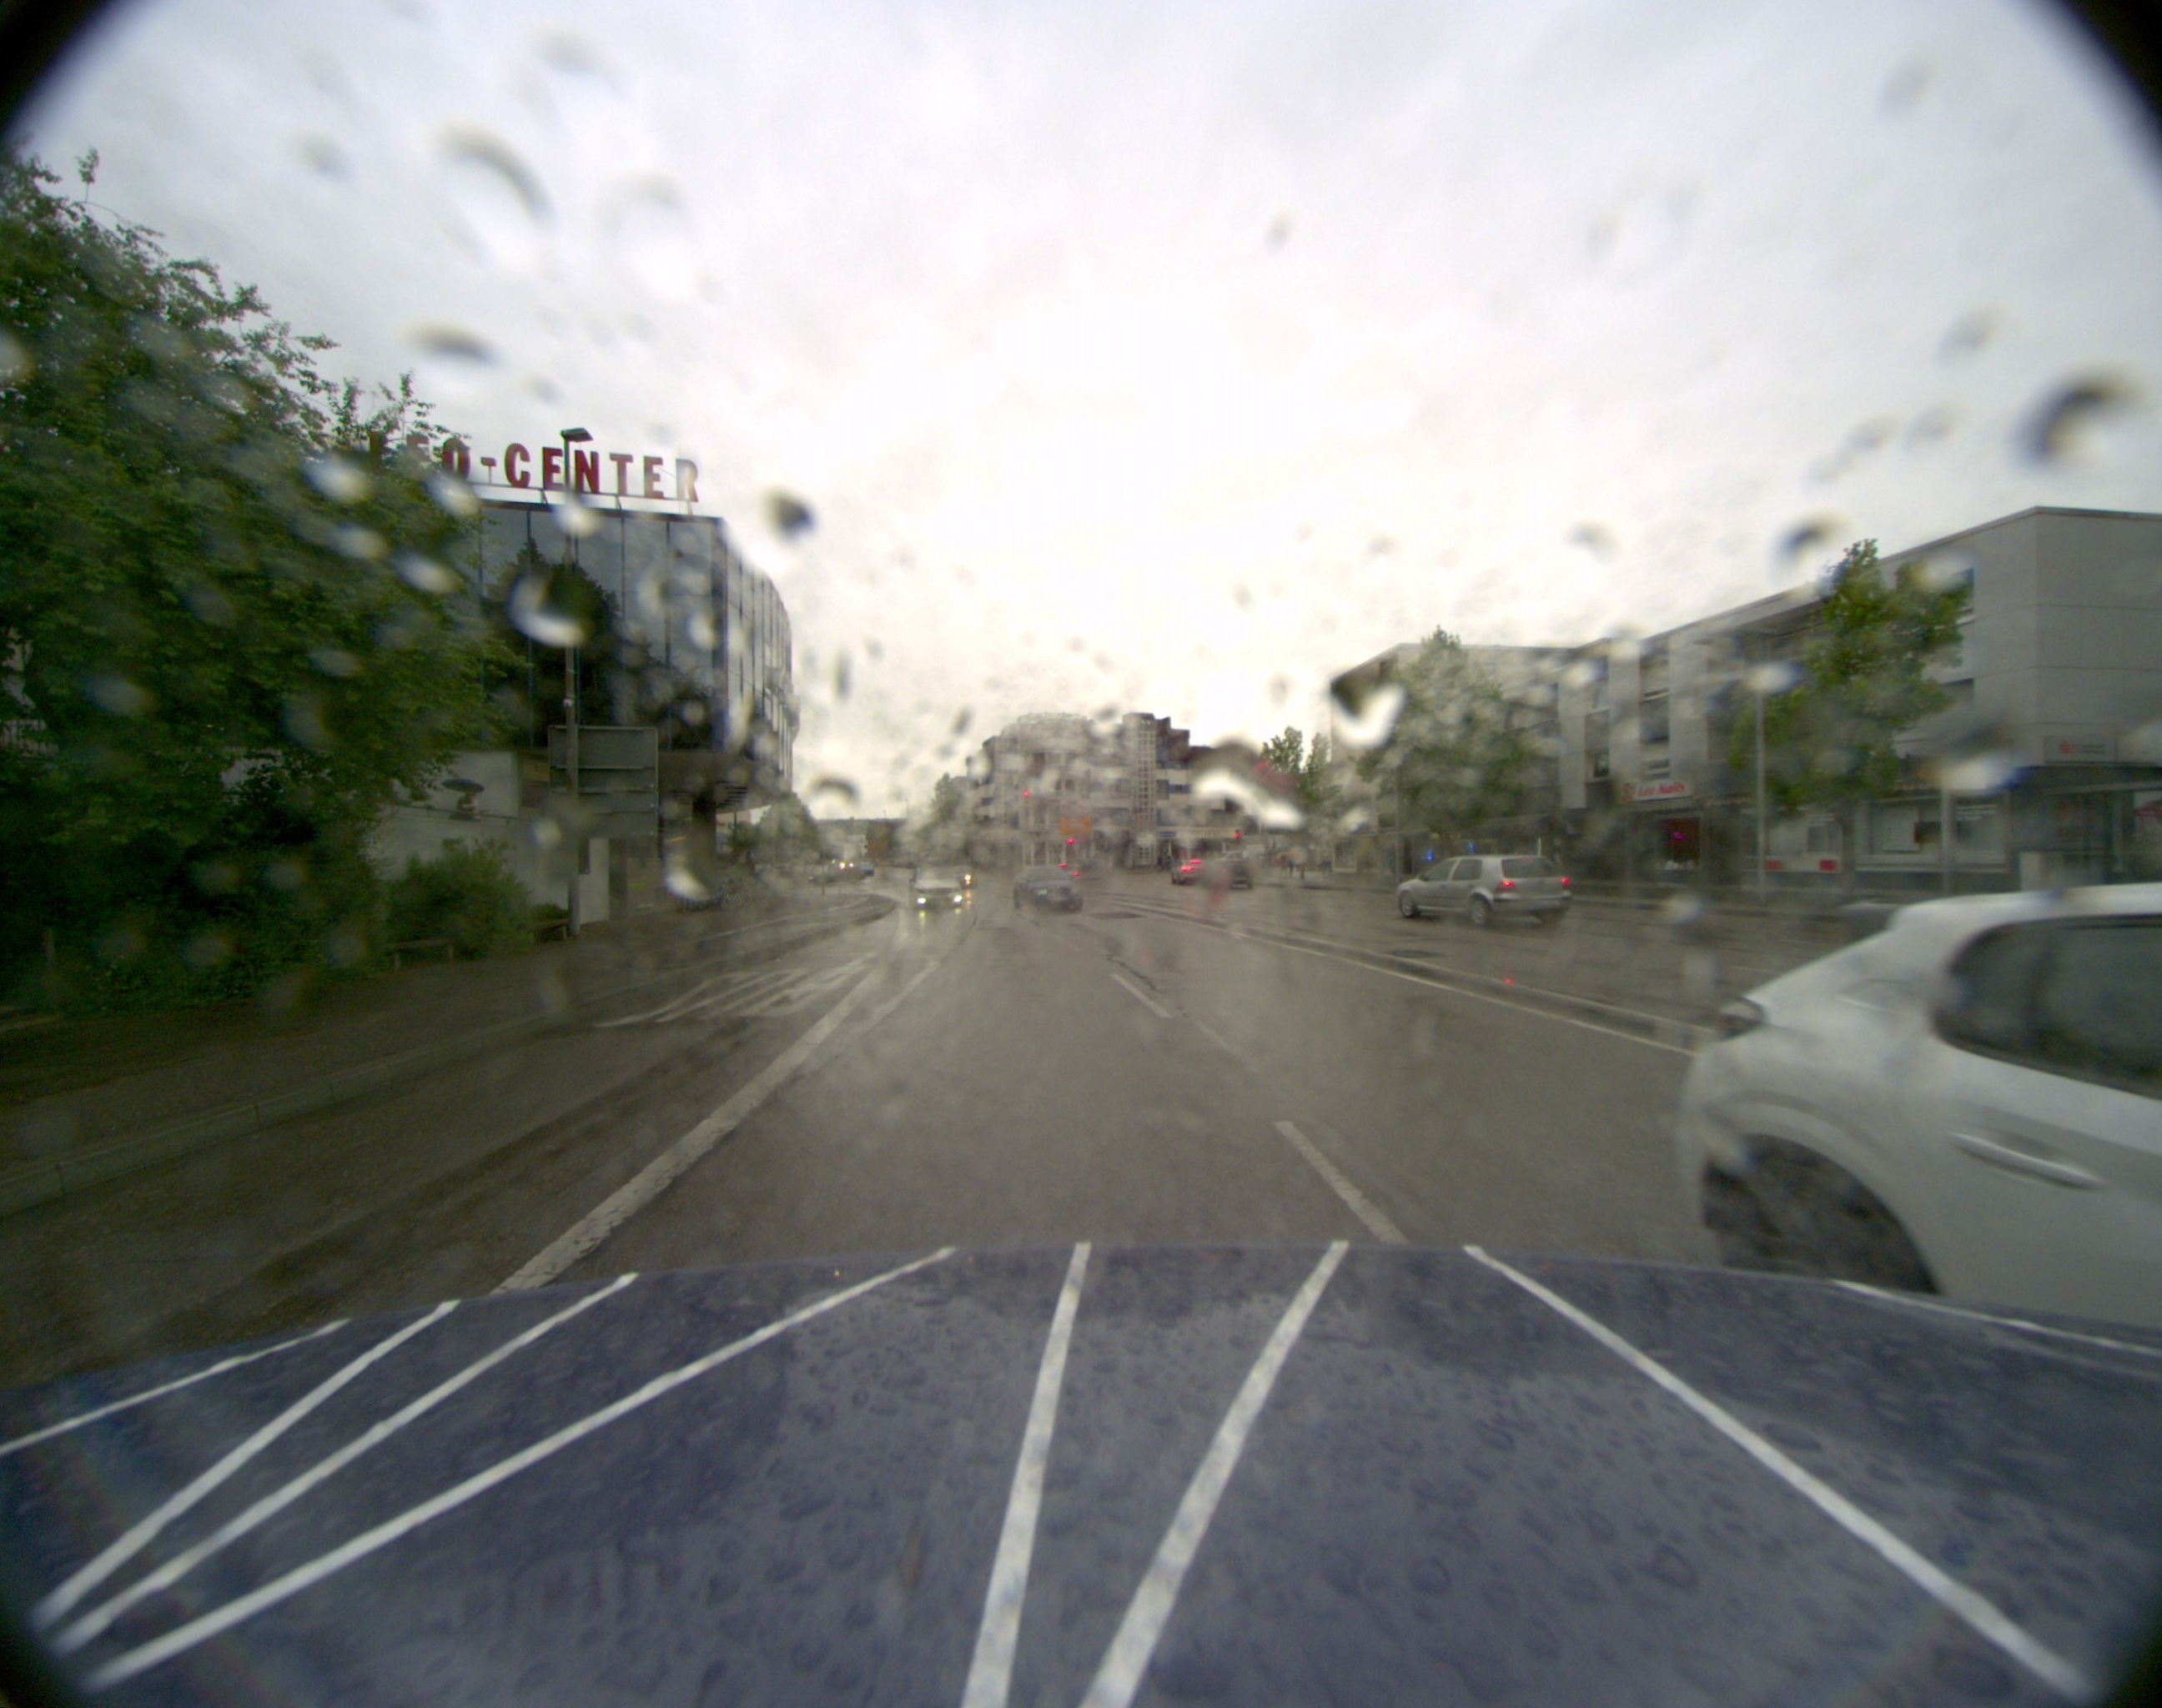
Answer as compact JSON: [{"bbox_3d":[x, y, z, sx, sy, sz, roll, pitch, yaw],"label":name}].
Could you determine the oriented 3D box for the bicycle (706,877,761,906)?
[{"bbox_3d":[-13.540,1.458,29.616,1.836,1.104,0.693,0,1,-9],"label":"bicycle"}]

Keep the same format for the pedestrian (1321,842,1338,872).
[{"bbox_3d":[16.883,0.206,51.647,0.761,2.002,0.863,-1,0,-9],"label":"pedestrian"}]

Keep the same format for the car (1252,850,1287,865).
[{"bbox_3d":[23.001,0.392,92.590,3.900,1.710,1.744,-1,0,-25],"label":"car"}]

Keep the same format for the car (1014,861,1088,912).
[{"bbox_3d":[-1.087,1.042,25.495,1.678,1.533,3.909,-1,-1,-14],"label":"car"}]

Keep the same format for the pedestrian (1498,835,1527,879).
[{"bbox_3d":[19.662,0.140,34.623,0.760,2.002,0.864,-1,0,-5],"label":"pedestrian"}]

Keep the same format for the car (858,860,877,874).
[{"bbox_3d":[-24.321,1.497,86.409,1.903,1.517,3.994,-1,0,-17],"label":"car"}]

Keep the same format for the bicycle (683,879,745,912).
[{"bbox_3d":[-12.811,1.444,26.596,1.816,1.103,0.693,1,0,-9],"label":"bicycle"}]

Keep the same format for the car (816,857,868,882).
[{"bbox_3d":[-20.726,1.312,65.861,4.195,2.002,1.793,-1,0,-21],"label":"car"}]

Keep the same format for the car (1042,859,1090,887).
[{"bbox_3d":[-0.899,1.043,42.410,1.764,1.442,3.996,-1,-1,-14],"label":"car"}]

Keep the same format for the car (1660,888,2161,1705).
[{"bbox_3d":[3.043,0.865,0.688,1.877,1.453,3.871,-2,0,-5],"label":"car"}]

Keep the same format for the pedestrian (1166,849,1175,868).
[{"bbox_3d":[8.437,0.396,71.928,0.682,1.733,0.585,-2,1,18],"label":"pedestrian"}]

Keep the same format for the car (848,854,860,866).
[{"bbox_3d":[-33.858,0.915,113.239,1.585,1.630,3.635,-1,0,-17],"label":"car"}]

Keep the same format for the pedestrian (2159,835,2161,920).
[{"bbox_3d":[19.187,0.402,13.113,0.537,1.496,0.614,-2,0,-30],"label":"pedestrian"}]

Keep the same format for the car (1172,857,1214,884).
[{"bbox_3d":[6.409,0.911,43.931,1.762,1.418,4.888,-1,0,1],"label":"car"}]

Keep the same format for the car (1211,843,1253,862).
[{"bbox_3d":[16.588,-0.209,83.417,4.607,2.002,1.995,-1,0,-40],"label":"car"}]

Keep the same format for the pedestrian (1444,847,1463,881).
[{"bbox_3d":[19.106,0.511,38.950,0.549,1.740,0.680,-1,0,-5],"label":"pedestrian"}]

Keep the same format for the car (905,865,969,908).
[{"bbox_3d":[-5.802,1.234,30.306,1.765,1.540,4.319,-2,0,-20],"label":"car"}]

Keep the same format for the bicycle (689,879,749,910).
[{"bbox_3d":[-12.986,1.438,27.279,1.807,1.078,0.684,1,-1,-9],"label":"bicycle"}]

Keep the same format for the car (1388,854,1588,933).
[{"bbox_3d":[8.461,0.745,16.268,1.705,1.457,4.101,0,0,-8],"label":"car"}]

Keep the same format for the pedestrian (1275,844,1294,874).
[{"bbox_3d":[13.972,0.358,52.110,0.906,2.002,0.977,-1,0,-8],"label":"pedestrian"}]

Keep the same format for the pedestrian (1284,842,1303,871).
[{"bbox_3d":[14.670,0.177,52.536,0.906,2.002,0.977,-1,0,-8],"label":"pedestrian"}]

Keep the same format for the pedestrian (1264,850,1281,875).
[{"bbox_3d":[14.424,0.630,57.295,0.906,1.903,0.977,-1,0,-8],"label":"pedestrian"}]

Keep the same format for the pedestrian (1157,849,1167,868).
[{"bbox_3d":[7.506,0.451,70.364,0.838,1.733,0.585,-2,1,-2],"label":"pedestrian"}]

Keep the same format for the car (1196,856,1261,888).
[{"bbox_3d":[7.109,0.859,36.989,1.763,1.418,3.997,-1,-1,-10],"label":"car"}]

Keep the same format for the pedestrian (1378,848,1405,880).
[{"bbox_3d":[16.078,0.526,39.362,1.010,1.636,0.726,-2,0,-8],"label":"pedestrian"}]

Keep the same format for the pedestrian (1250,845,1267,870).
[{"bbox_3d":[13.373,0.269,57.166,0.906,1.903,0.977,-1,0,-8],"label":"pedestrian"}]

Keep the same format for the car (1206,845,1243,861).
[{"bbox_3d":[16.696,-0.131,88.583,3.900,1.710,1.744,-1,0,-25],"label":"car"}]

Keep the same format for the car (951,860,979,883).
[{"bbox_3d":[-7.811,1.187,51.581,1.633,1.481,3.838,-1,0,-5],"label":"car"}]

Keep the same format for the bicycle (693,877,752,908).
[{"bbox_3d":[-13.244,1.419,28.113,1.816,1.103,0.693,1,0,-9],"label":"bicycle"}]
